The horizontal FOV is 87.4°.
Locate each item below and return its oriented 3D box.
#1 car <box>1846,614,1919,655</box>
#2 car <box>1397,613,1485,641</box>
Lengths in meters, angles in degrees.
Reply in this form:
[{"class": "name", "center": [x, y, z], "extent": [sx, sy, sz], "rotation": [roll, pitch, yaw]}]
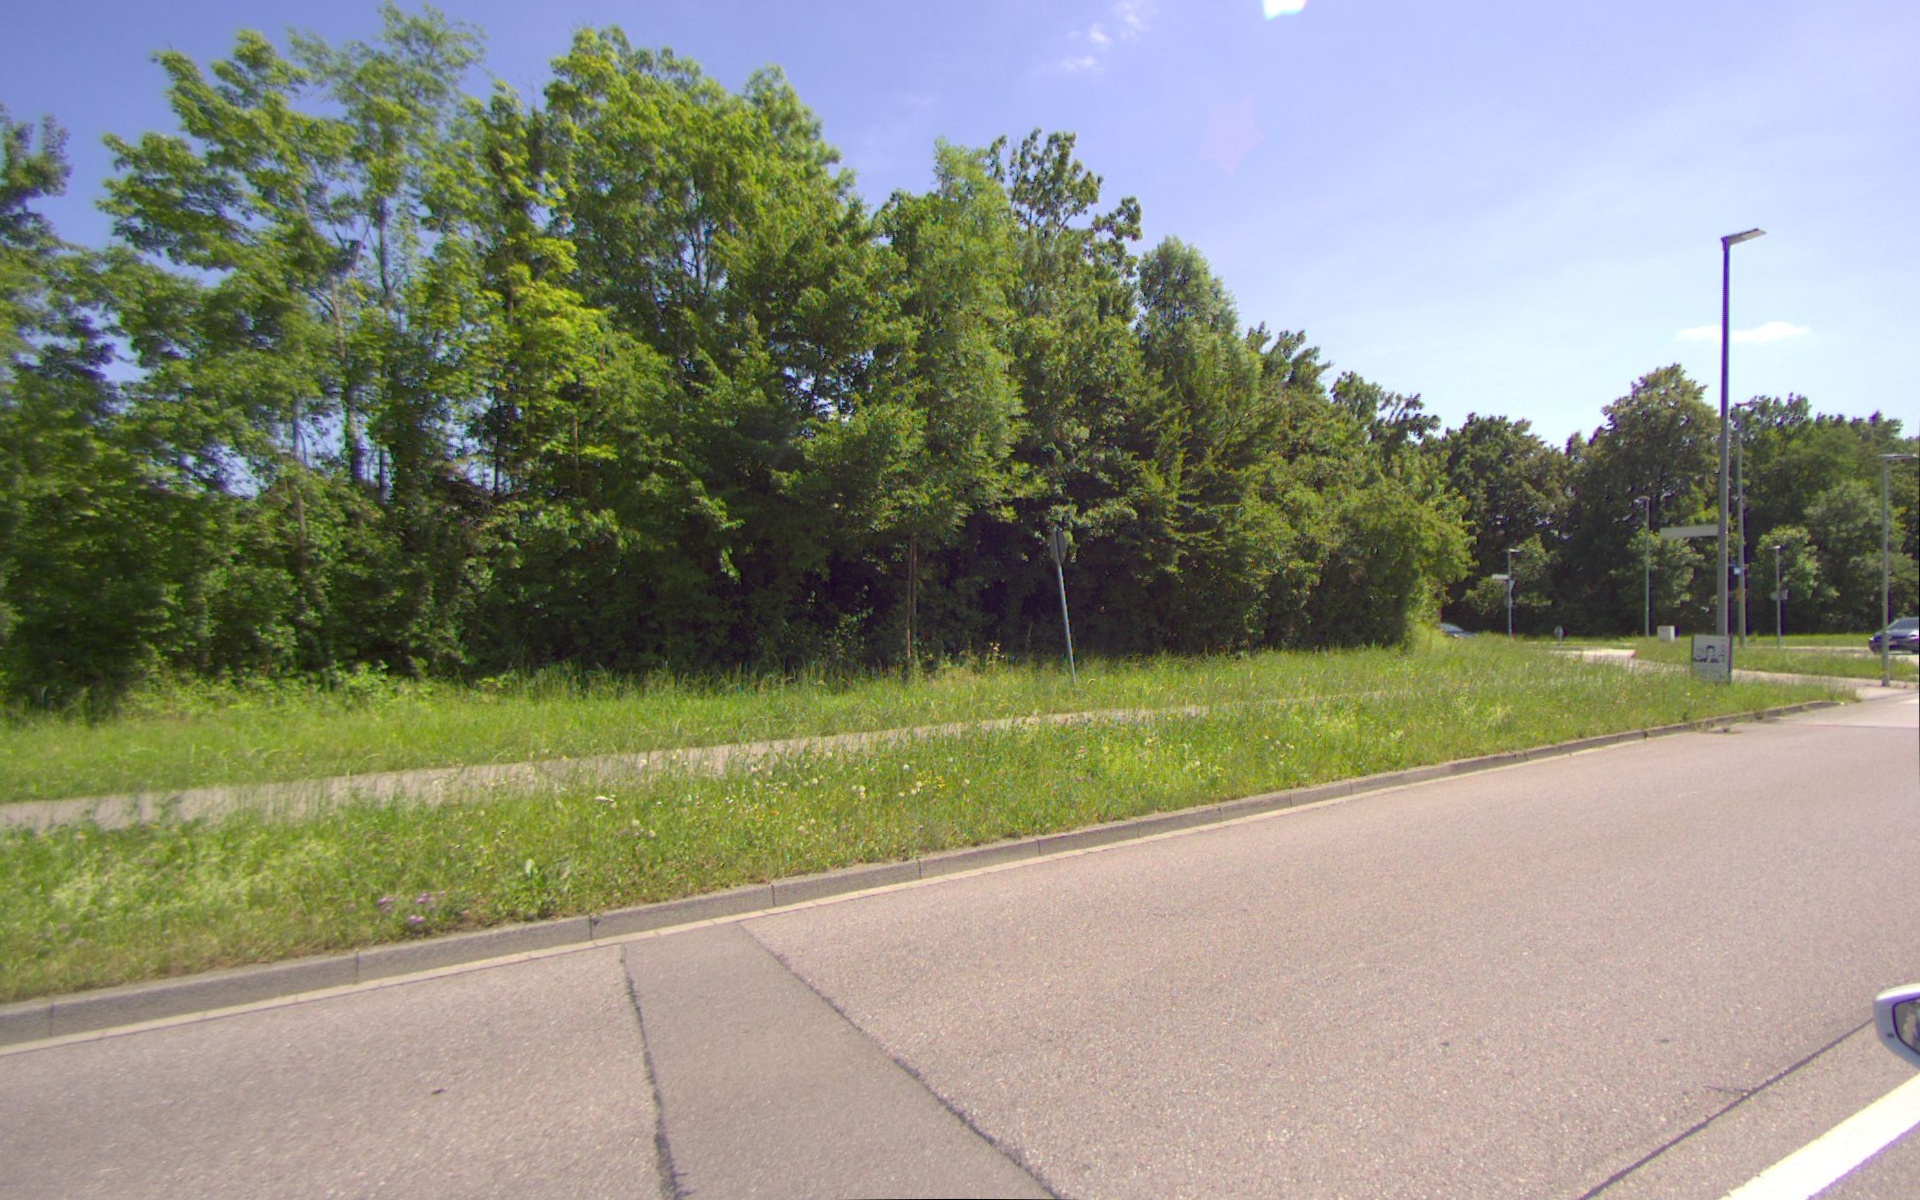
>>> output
[{"class": "car", "center": [37.581, 1.332, 39.749], "extent": [4.224, 1.498, 1.991], "rotation": [-1, -2, -21]}, {"class": "car", "center": [27.861, 1.527, 58.343], "extent": [1.930, 1.514, 4.540], "rotation": [1, -1, -20]}]
